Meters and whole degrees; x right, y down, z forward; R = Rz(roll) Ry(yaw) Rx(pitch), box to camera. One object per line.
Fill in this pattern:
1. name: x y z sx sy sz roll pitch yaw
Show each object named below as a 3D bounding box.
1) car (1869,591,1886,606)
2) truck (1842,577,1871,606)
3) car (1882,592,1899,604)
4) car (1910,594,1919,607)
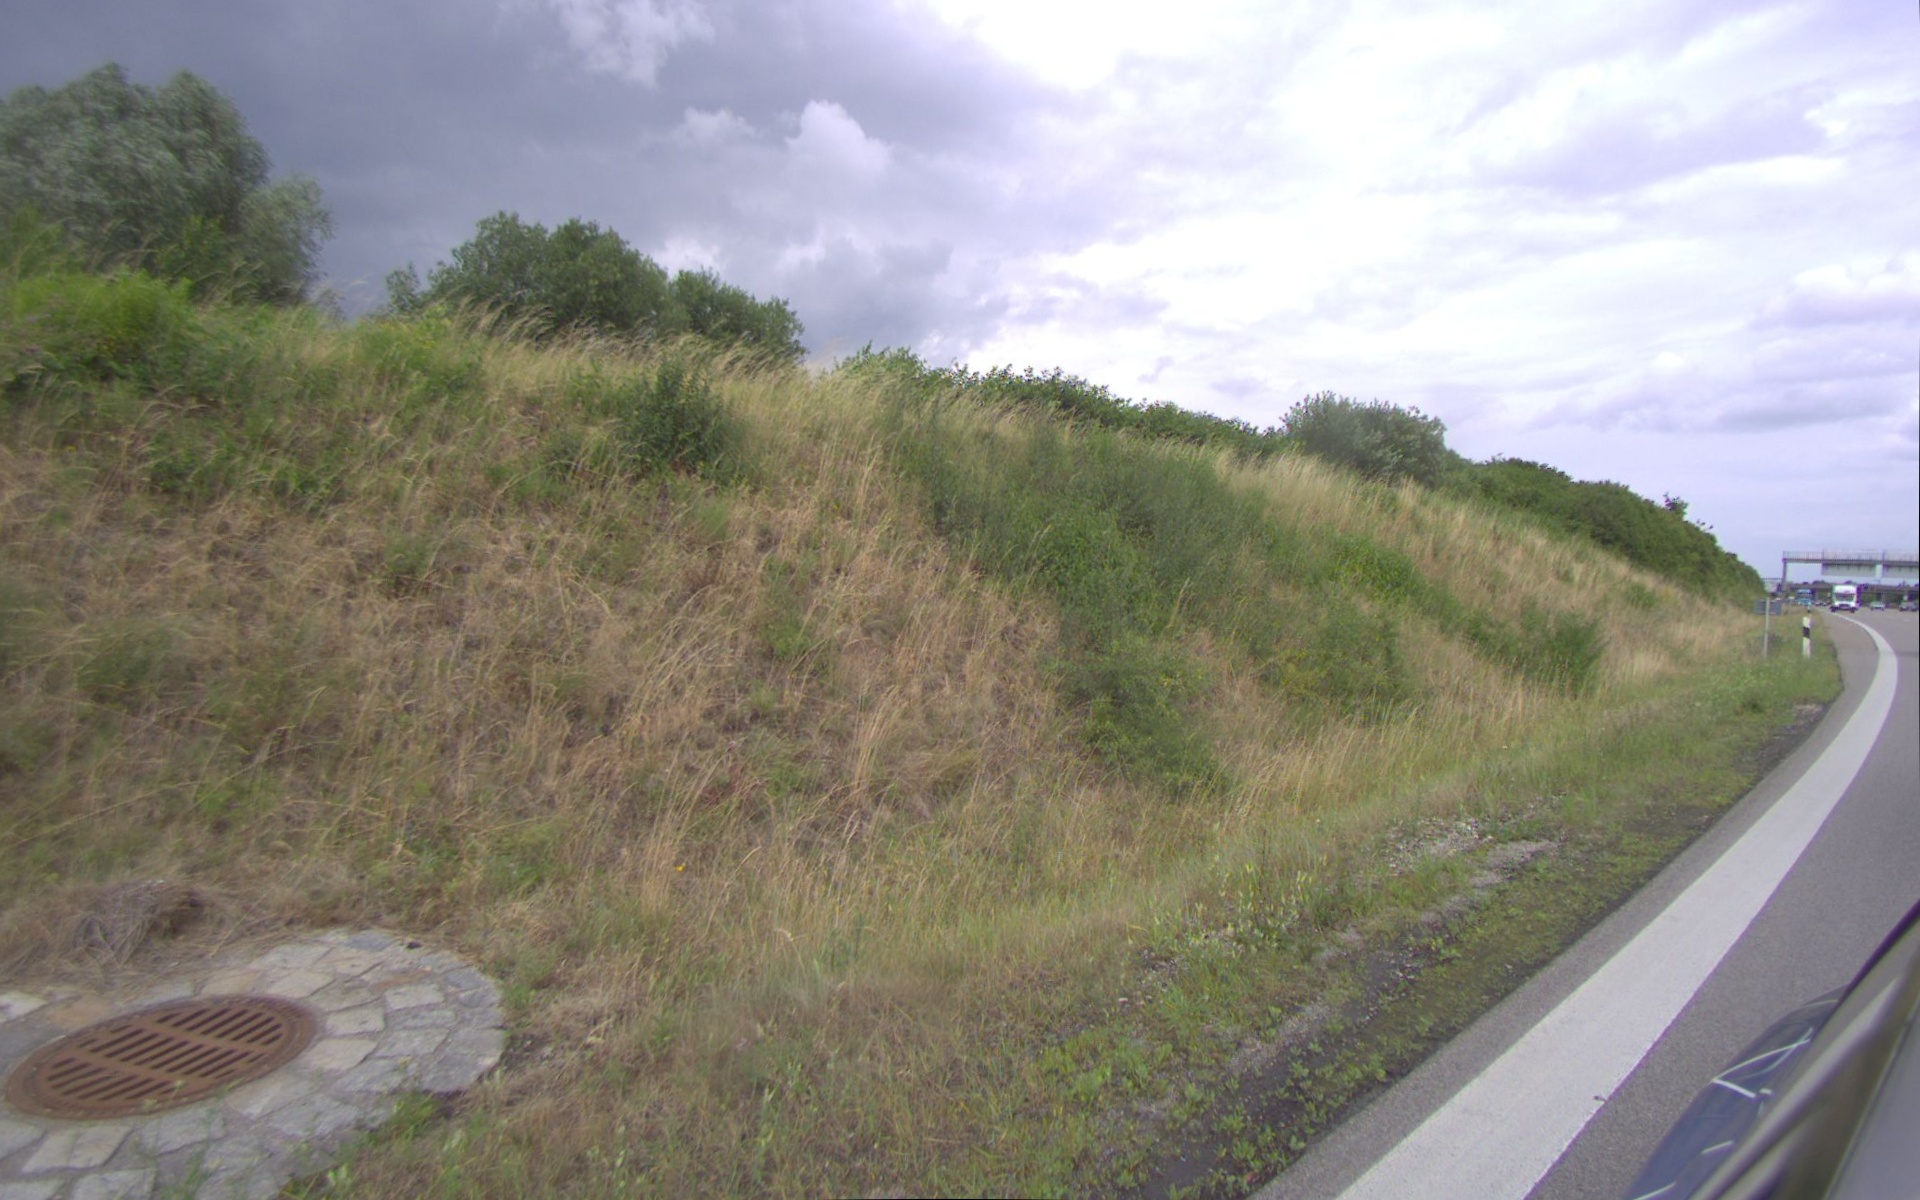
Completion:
1. car: 151.636 -0.263 167.275 1.993 2.425 3.938 0 1 43
2. truck: 106.244 -1.040 119.970 2.440 3.275 7.084 2 2 41
3. car: 160.656 -0.373 174.654 3.935 2.039 1.994 -1 1 -45
4. car: 158.075 0.114 166.734 3.933 2.038 1.996 0 2 -44
